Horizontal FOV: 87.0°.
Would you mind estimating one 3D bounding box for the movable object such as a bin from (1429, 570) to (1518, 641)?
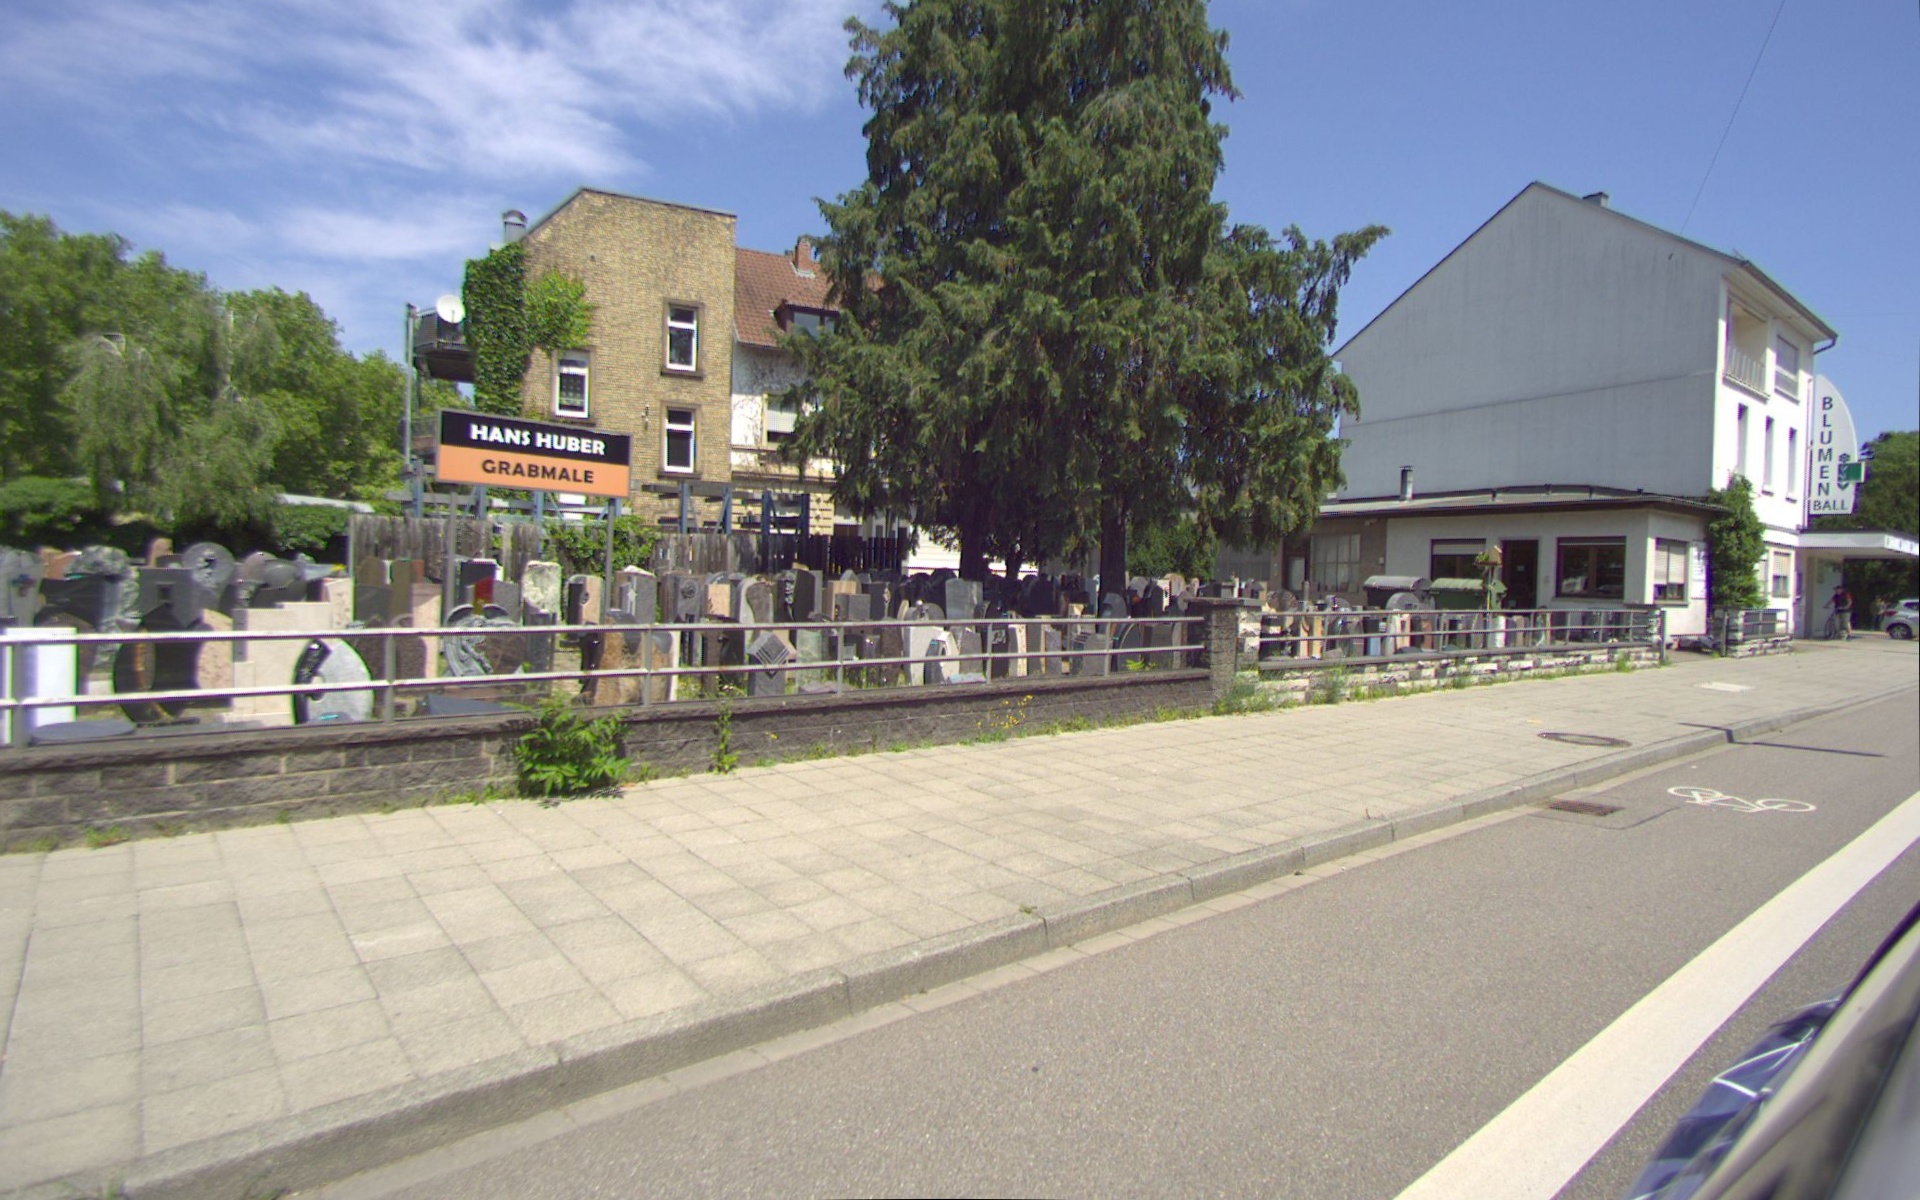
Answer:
[{"bbox_3d":[11.303,0.105,22.300,1.130,1.500,1.391,1,1,-38],"label":"movable object such as a bin"}]

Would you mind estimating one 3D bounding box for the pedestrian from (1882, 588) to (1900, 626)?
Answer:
[{"bbox_3d":[40.821,0.298,44.379,0.533,1.618,0.420,0,0,38],"label":"pedestrian"}]

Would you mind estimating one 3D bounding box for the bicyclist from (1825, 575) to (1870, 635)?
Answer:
[{"bbox_3d":[29.493,0.163,33.639,0.870,1.897,0.793,2,3,-32],"label":"bicyclist"}]

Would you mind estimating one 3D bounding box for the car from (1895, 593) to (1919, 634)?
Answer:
[{"bbox_3d":[37.966,0.576,37.937,1.666,1.536,4.000,1,2,-37],"label":"car"}]

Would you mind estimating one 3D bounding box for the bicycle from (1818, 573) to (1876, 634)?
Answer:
[{"bbox_3d":[29.496,0.132,33.636,1.919,1.923,0.802,1,3,-32],"label":"bicycle"}]

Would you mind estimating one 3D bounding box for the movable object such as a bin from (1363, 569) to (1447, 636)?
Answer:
[{"bbox_3d":[10.376,0.044,23.637,1.129,1.500,1.392,1,1,-35],"label":"movable object such as a bin"}]
